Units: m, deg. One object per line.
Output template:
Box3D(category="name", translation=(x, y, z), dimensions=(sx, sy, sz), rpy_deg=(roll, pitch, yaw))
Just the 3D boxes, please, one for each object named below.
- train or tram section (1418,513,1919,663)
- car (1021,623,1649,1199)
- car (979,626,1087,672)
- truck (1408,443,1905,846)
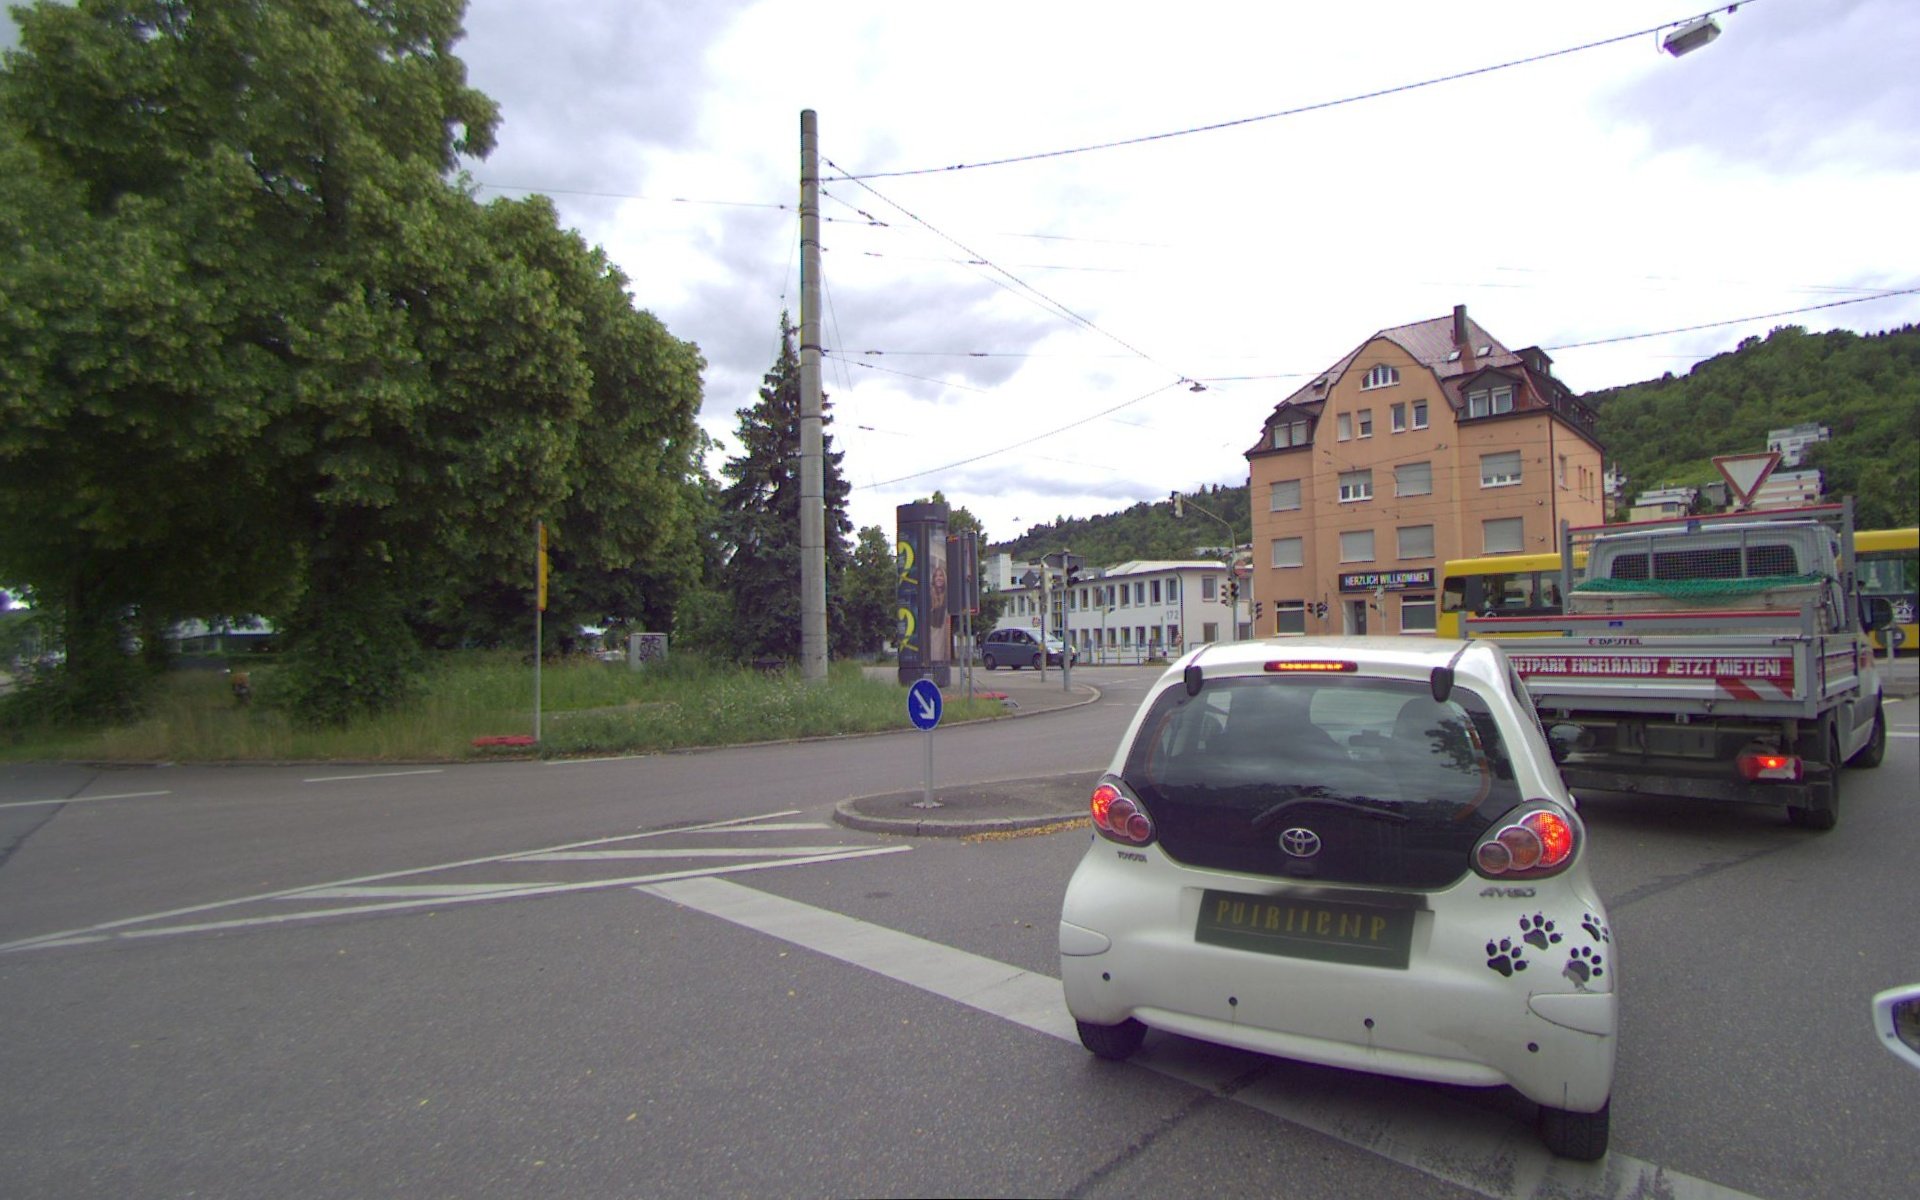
Box3D(category="train or tram section", translation=(23.299, -0.180, 28.246), dimensions=(18.912, 3.714, 3.258), rpy_deg=(-4, -3, 44))
Box3D(category="car", translation=(1.737, 0.871, 4.318), dimensions=(1.615, 1.451, 3.426), rpy_deg=(-3, -3, 28))
Box3D(category="car", translation=(2.727, 1.858, 37.932), dimensions=(1.791, 1.605, 3.839), rpy_deg=(1, -3, -44))
Box3D(category="truck", translation=(6.519, 0.361, 9.000), dimensions=(5.986, 2.429, 2.399), rpy_deg=(1, -4, -43))
